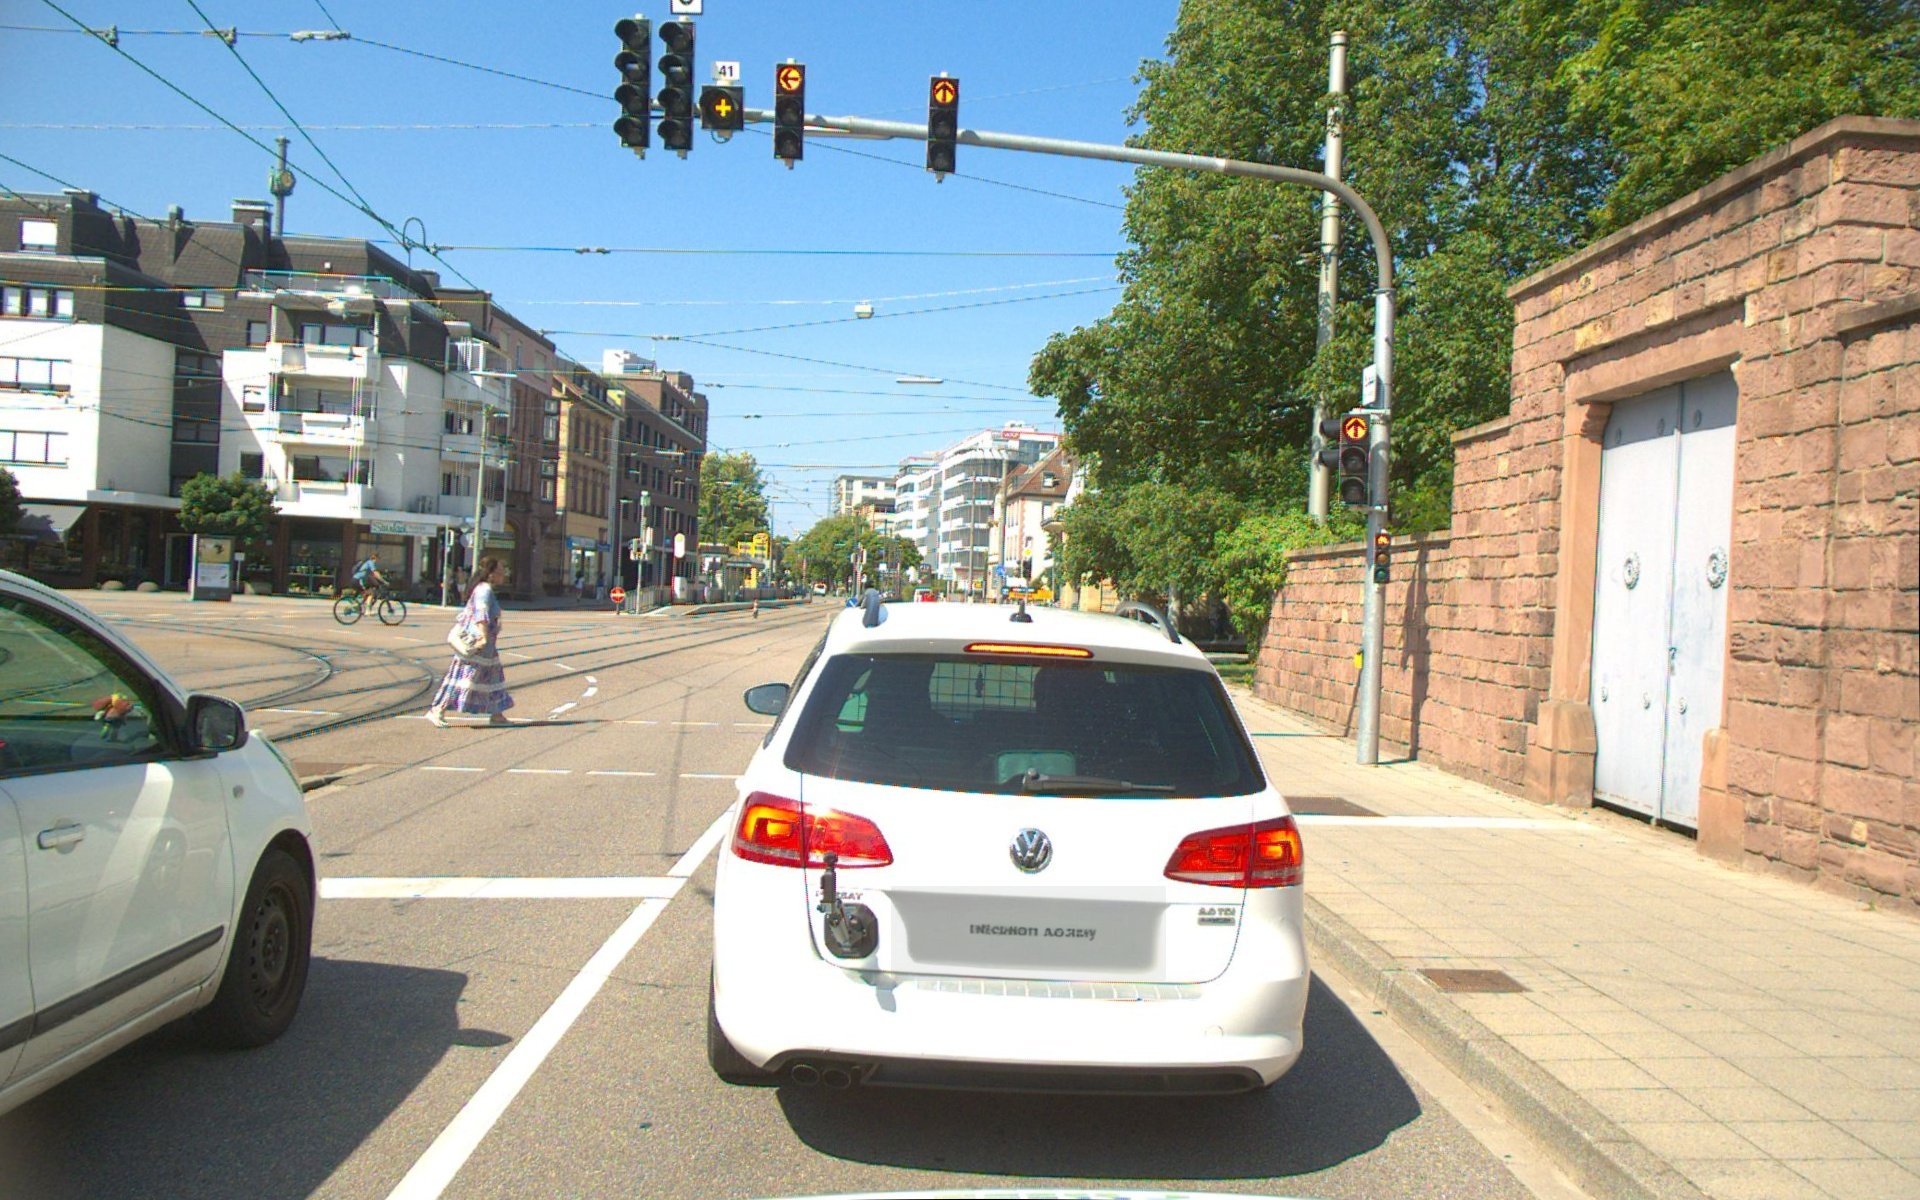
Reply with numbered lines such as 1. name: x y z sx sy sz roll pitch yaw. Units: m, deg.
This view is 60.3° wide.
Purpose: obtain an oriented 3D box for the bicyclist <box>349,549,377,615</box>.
1. bicyclist: -15.072 -0.454 41.767 0.627 1.641 0.559 1 -1 -22

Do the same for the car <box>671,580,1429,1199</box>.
1. car: 0.185 0.704 5.956 1.771 1.473 3.999 2 0 -1

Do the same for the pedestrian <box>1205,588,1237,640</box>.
1. pedestrian: 9.025 0.484 57.171 0.951 1.773 0.865 0 -1 18

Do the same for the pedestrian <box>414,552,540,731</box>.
1. pedestrian: -4.726 0.397 16.155 0.962 1.680 0.946 1 -1 -31

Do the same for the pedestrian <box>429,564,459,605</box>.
1. pedestrian: -22.709 -0.661 72.799 0.847 1.773 0.971 0 -1 35

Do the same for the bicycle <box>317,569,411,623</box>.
1. bicycle: -15.046 -0.089 41.772 2.211 1.320 0.556 1 -1 -22

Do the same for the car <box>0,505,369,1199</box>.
1. car: -2.846 0.578 3.865 1.608 1.593 3.803 1 1 -1

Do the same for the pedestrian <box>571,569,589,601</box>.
1. pedestrian: -21.244 -0.834 92.505 0.845 1.773 0.973 1 -1 -6

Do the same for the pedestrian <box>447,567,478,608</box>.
1. pedestrian: -21.775 -0.556 72.371 0.849 1.773 0.969 0 -1 43

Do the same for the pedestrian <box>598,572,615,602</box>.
1. pedestrian: -21.081 -0.760 98.564 0.845 1.773 0.973 1 -1 -6

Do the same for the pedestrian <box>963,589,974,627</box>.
1. pedestrian: 0.521 0.517 105.241 0.675 2.366 1.232 0 -1 0
